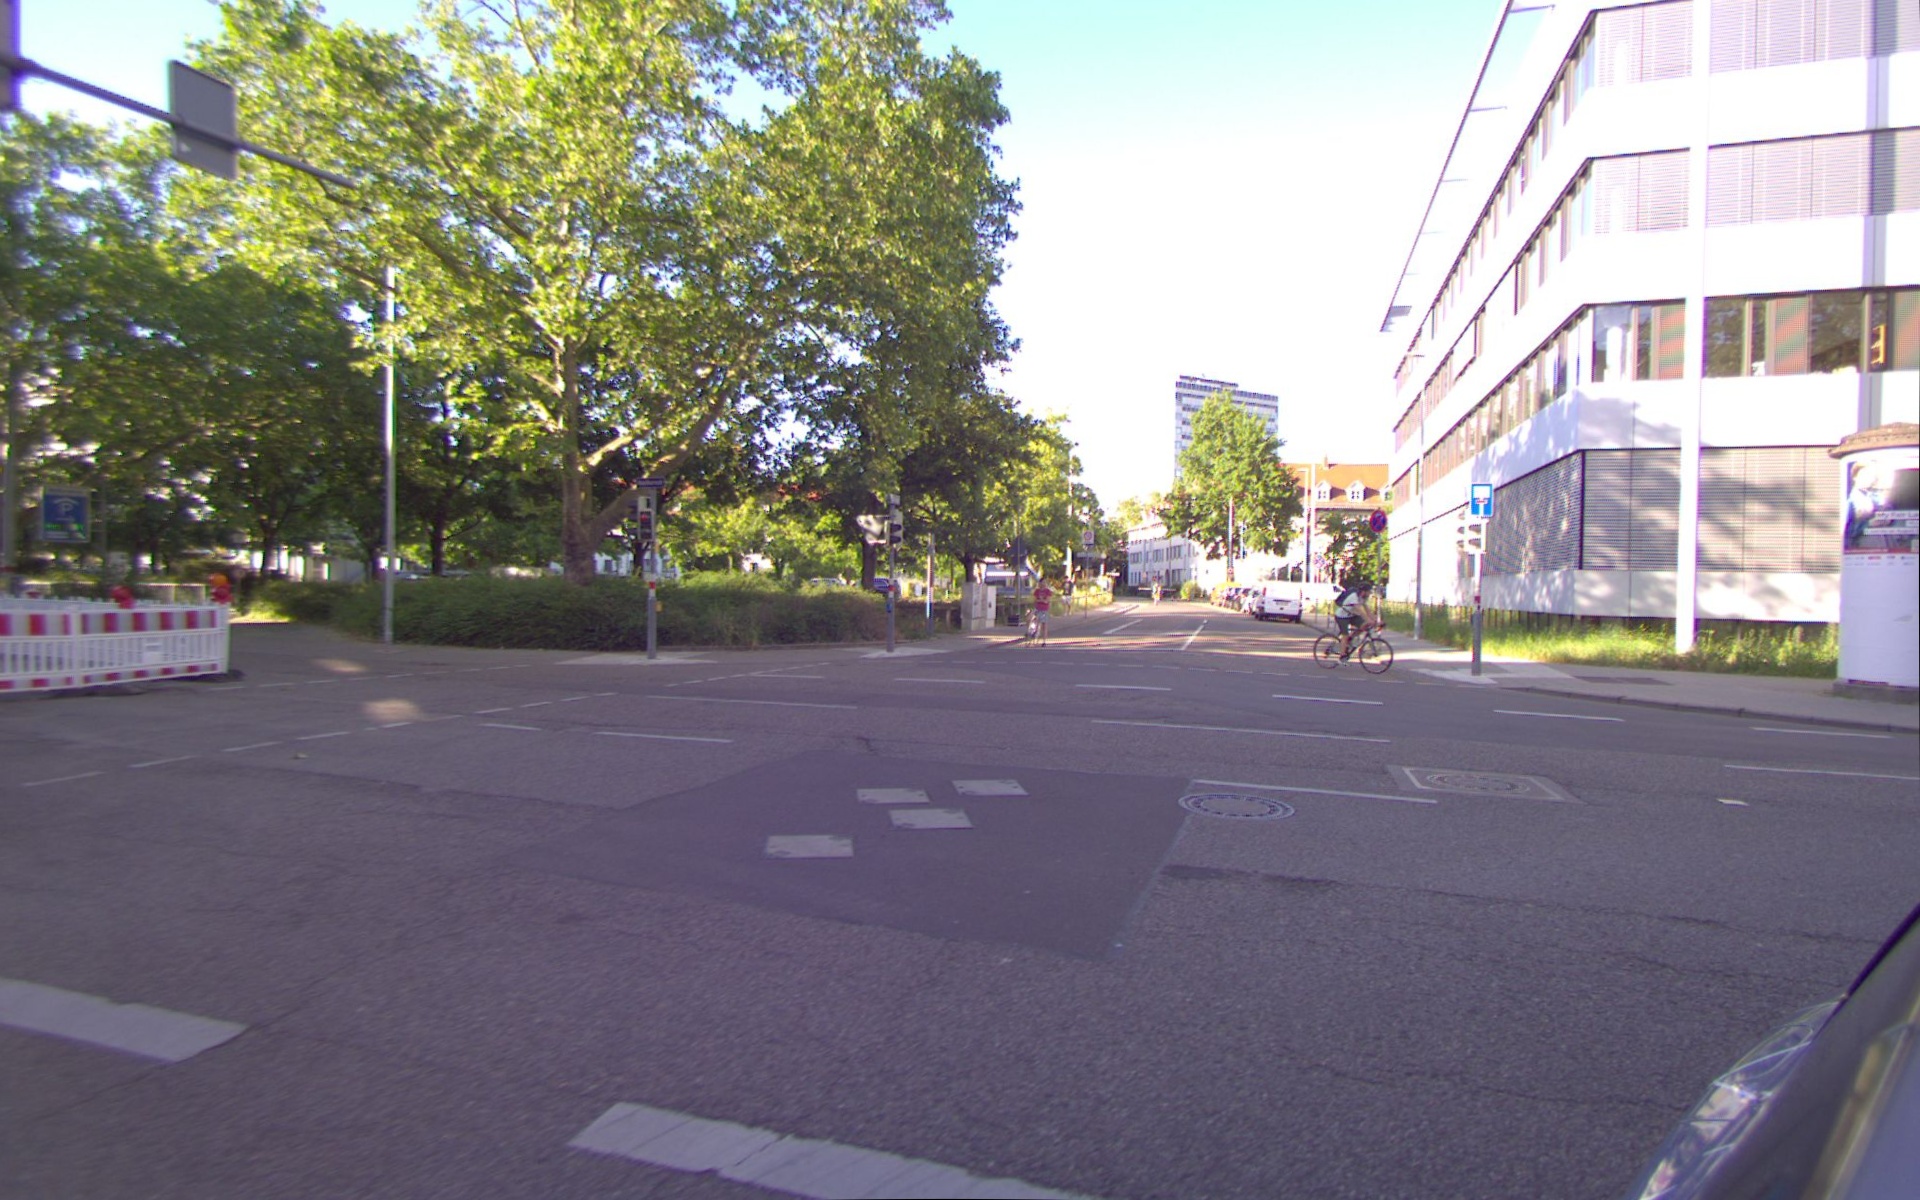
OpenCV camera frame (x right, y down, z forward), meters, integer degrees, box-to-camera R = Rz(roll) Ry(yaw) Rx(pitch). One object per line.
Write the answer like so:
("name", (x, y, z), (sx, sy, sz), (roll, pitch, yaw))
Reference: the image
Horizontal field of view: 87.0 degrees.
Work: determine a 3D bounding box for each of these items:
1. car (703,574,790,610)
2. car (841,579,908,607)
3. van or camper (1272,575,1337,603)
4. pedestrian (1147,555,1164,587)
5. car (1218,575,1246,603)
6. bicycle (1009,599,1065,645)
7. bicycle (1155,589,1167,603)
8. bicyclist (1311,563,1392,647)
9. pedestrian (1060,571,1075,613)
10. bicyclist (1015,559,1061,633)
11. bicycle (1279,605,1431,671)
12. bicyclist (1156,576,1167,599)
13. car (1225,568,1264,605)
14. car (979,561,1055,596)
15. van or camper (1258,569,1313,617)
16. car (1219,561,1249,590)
("car", (-11.000, -0.433, 52.230), (3.947, 1.802, 1.989), (1, 1, 18))
("car", (-5.576, -0.482, 66.340), (3.947, 1.802, 1.989), (1, 1, 18))
("van or camper", (27.683, -0.894, 81.437), (4.649, 2.113, 1.997), (1, 1, 6))
("pedestrian", (20.547, -3.050, 106.414), (1.431, 3.350, 1.407), (0, 0, -2))
("car", (20.759, -0.836, 77.423), (1.971, 2.039, 3.981), (1, -1, 14))
("bicycle", (2.006, 0.524, 25.950), (0.929, 1.051, 2.993), (1, 1, 14))
("bicycle", (14.492, -0.272, 72.910), (0.750, 0.961, 3.047), (1, 1, 12))
("bicyclist", (7.771, 0.079, 20.101), (0.936, 1.564, 1.125), (0, 3, -41))
("pedestrian", (4.832, -0.380, 45.639), (0.656, 1.878, 1.024), (1, 0, 6))
("bicyclist", (1.987, -0.115, 25.782), (0.964, 1.830, 1.126), (1, 0, 15))
("bicycle", (7.792, 0.720, 20.099), (0.965, 1.064, 2.657), (0, 3, -41))
("bicyclist", (14.503, -0.892, 72.956), (0.750, 1.612, 0.898), (1, 0, 12))
("car", (15.965, -0.761, 57.001), (1.971, 2.039, 3.982), (1, 1, 14))
("car", (3.590, -1.356, 63.098), (4.495, 2.140, 1.993), (1, 1, 12))
("van or camper", (14.929, -0.365, 46.680), (2.132, 2.039, 4.954), (1, 1, 15))
("car", (19.770, -1.751, 73.080), (1.971, 2.039, 3.982), (1, 1, 14))
